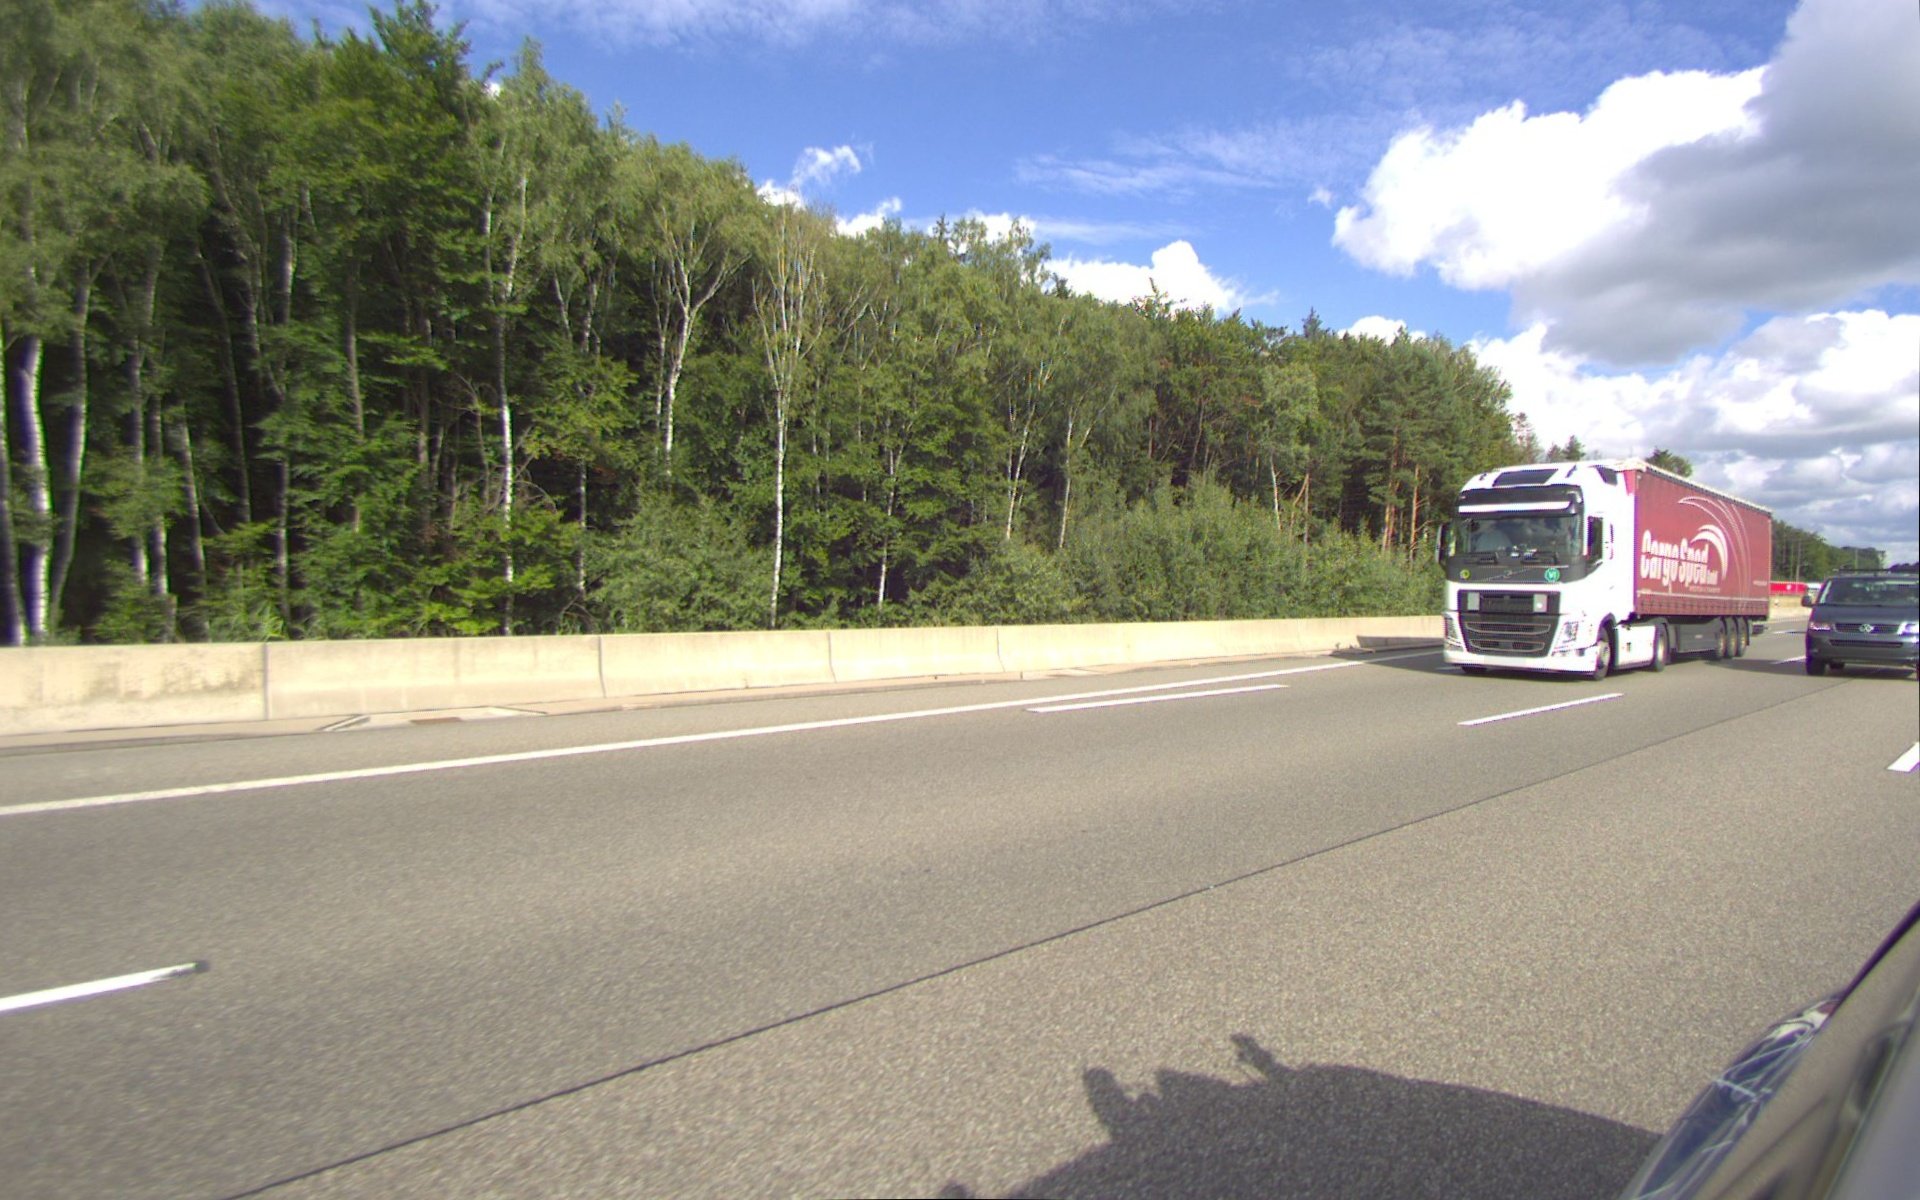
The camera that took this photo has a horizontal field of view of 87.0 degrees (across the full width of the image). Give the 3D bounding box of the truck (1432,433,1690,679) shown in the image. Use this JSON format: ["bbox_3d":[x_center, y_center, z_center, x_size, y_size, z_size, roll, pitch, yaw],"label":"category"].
[{"bbox_3d":[11.867,-0.753,19.802,5.674,4.096,2.778,0,0,-42],"label":"truck"}]

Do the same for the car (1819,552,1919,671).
[{"bbox_3d":[18.810,0.200,20.189,4.846,2.136,1.852,0,0,-41],"label":"car"}]

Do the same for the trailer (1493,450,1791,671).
[{"bbox_3d":[16.933,-0.765,24.377,13.477,4.096,2.778,0,1,-42],"label":"trailer"}]
